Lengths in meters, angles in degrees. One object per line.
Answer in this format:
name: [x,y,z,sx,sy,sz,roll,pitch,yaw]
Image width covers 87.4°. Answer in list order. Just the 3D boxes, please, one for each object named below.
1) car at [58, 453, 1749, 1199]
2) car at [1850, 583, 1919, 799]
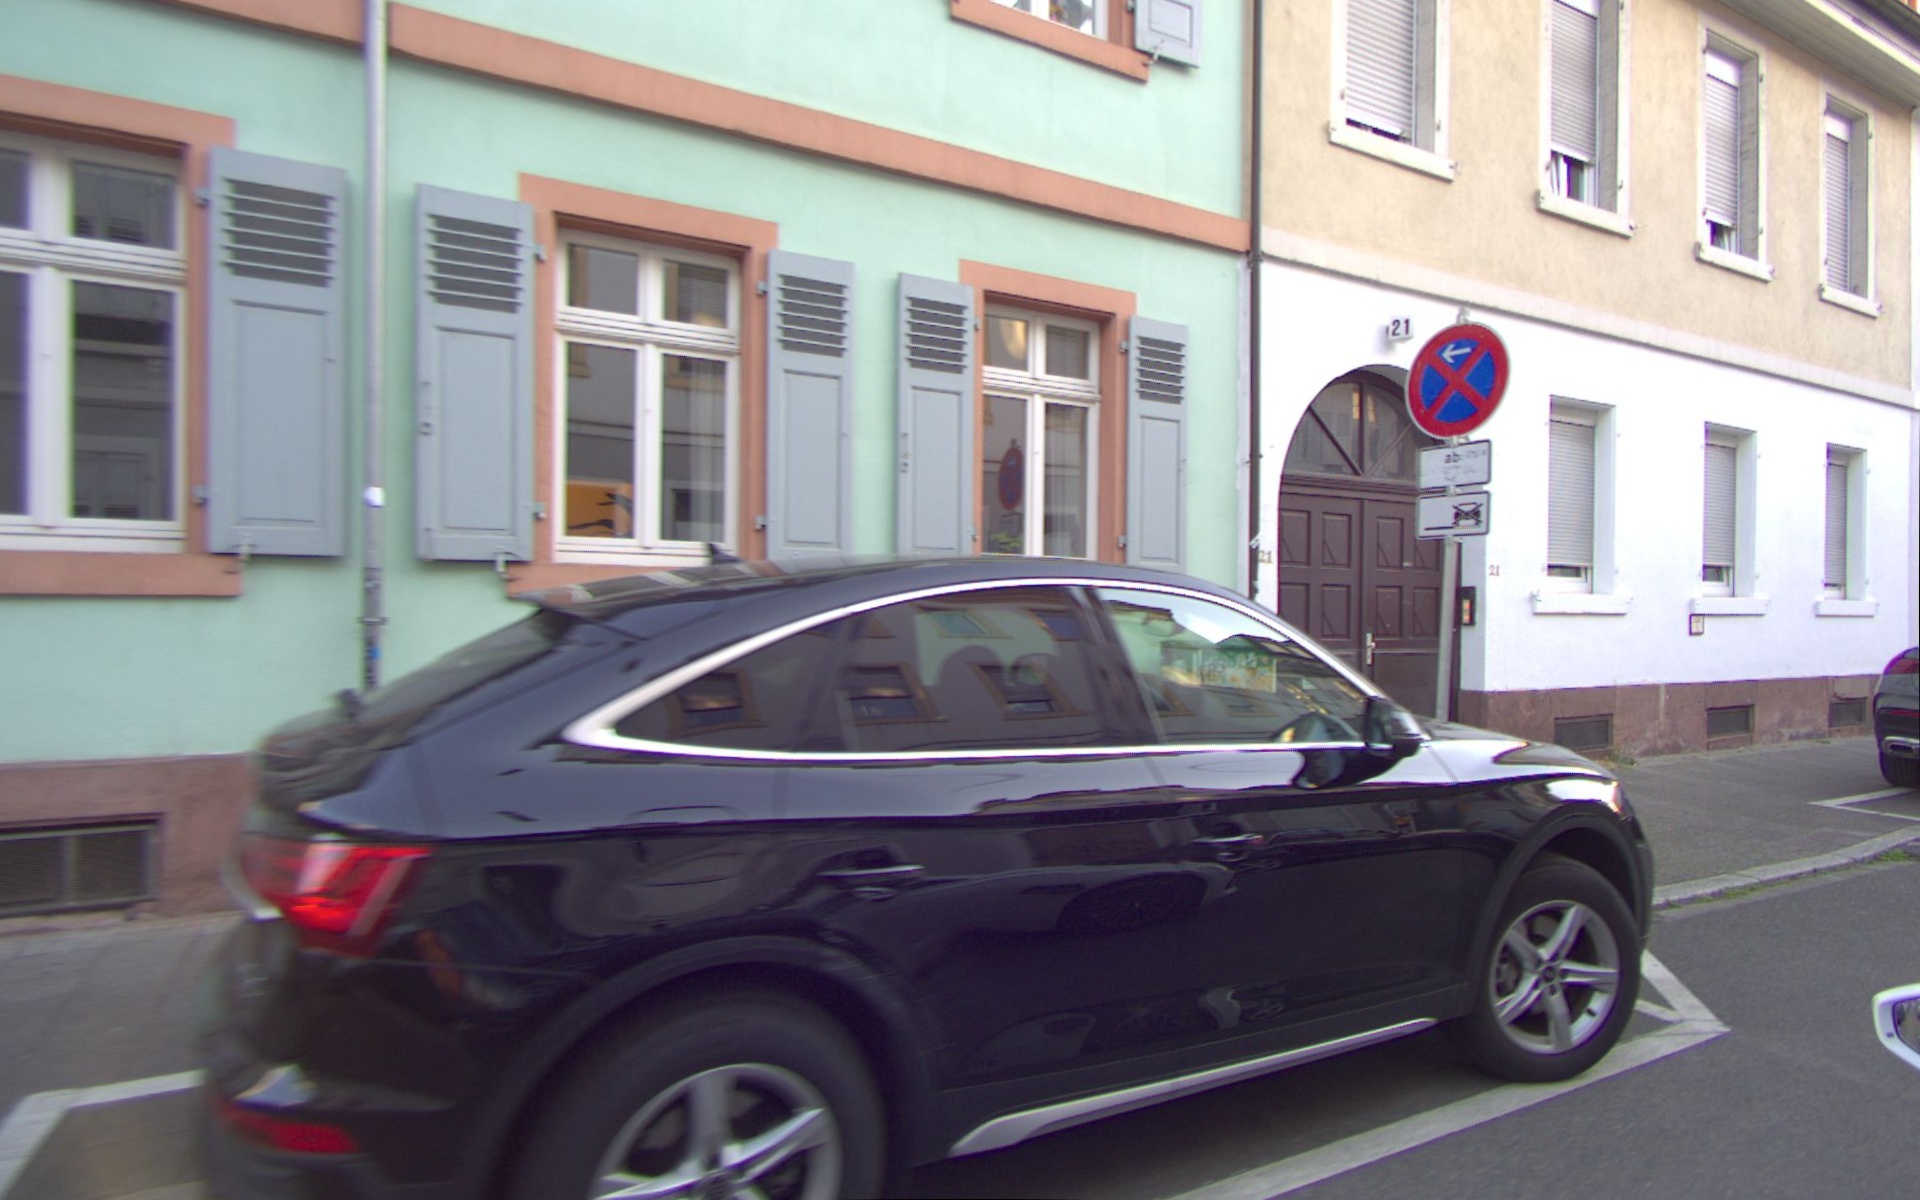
car: [0.312,0.667,3.234,4.430,1.699,1.797,1,-1,-26]
car: [9.912,0.762,8.647,4.480,1.730,1.989,1,1,-29]
